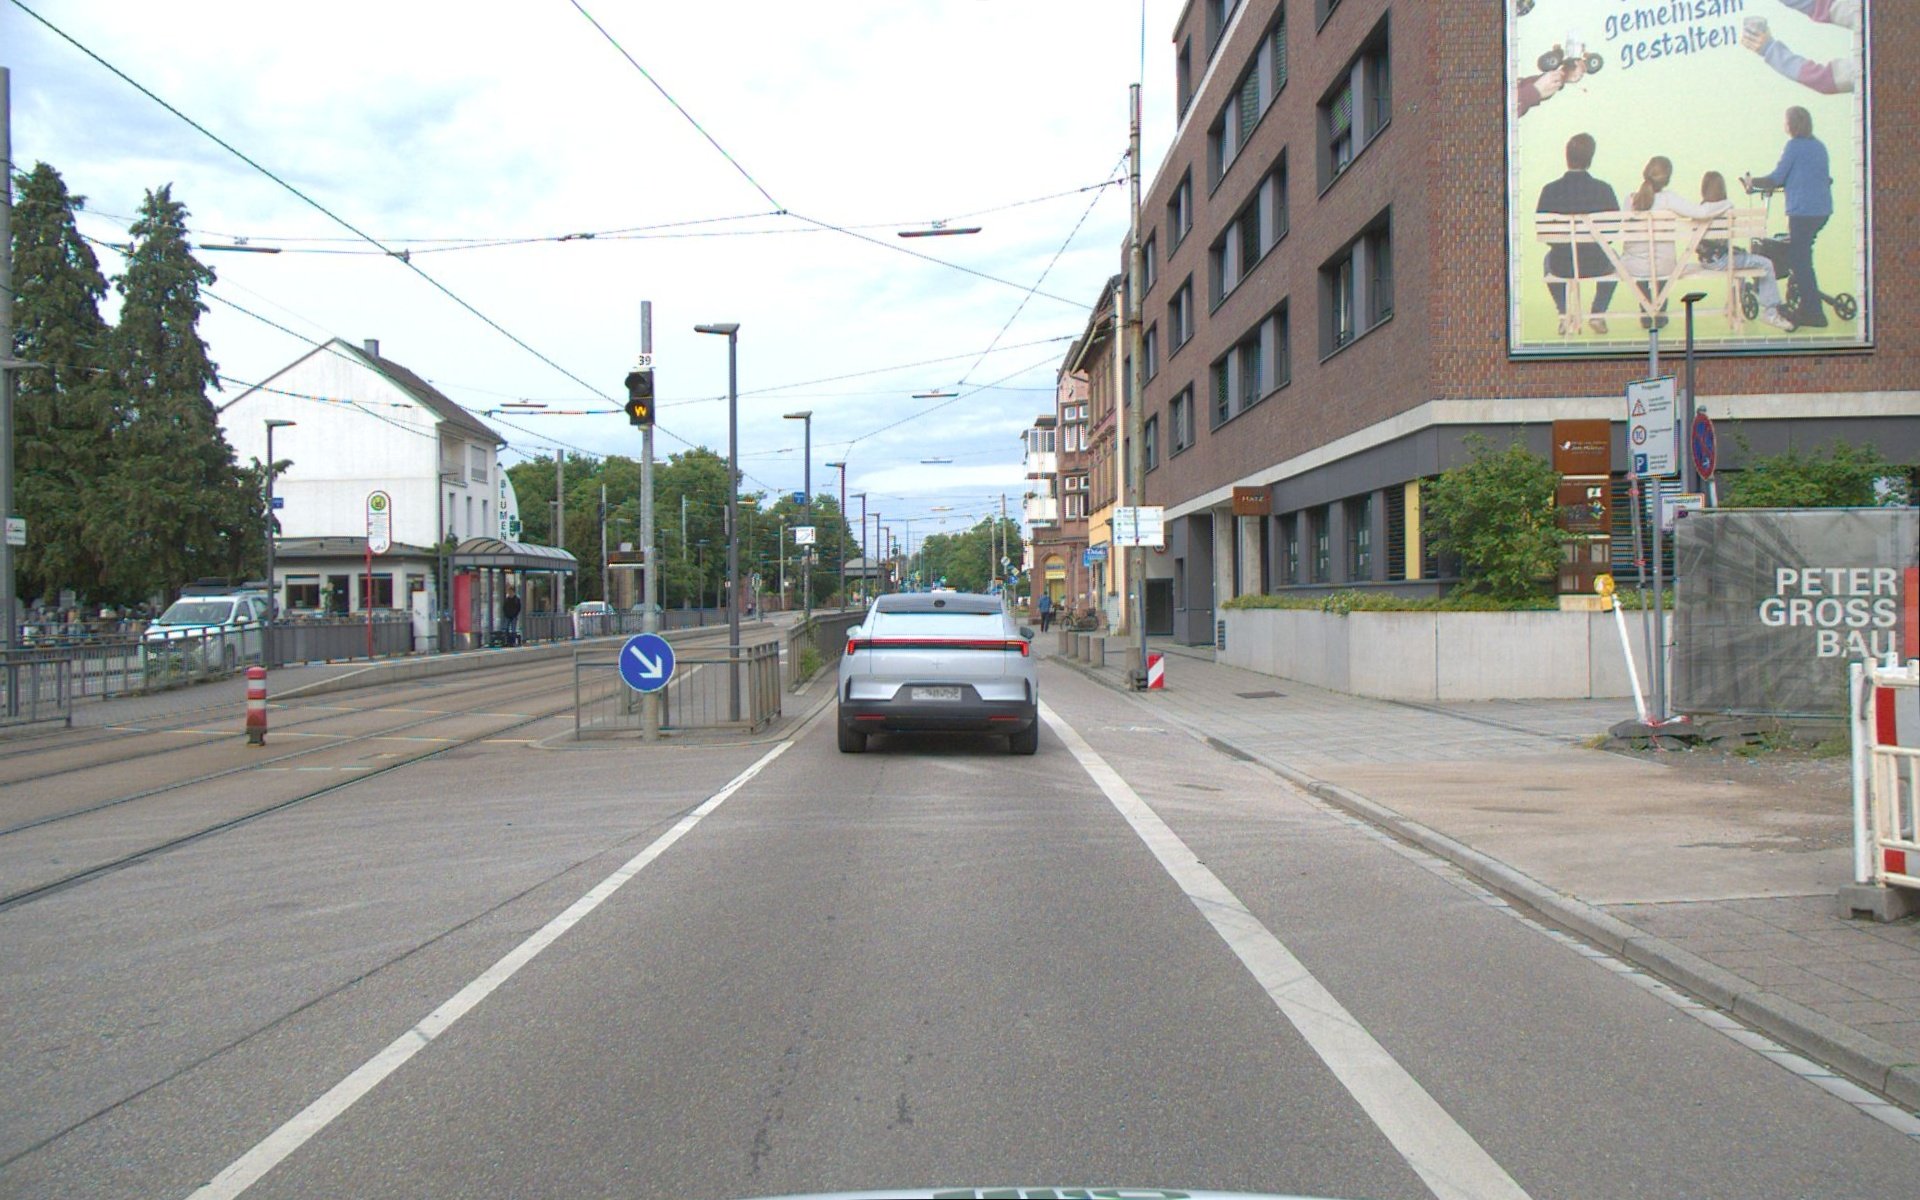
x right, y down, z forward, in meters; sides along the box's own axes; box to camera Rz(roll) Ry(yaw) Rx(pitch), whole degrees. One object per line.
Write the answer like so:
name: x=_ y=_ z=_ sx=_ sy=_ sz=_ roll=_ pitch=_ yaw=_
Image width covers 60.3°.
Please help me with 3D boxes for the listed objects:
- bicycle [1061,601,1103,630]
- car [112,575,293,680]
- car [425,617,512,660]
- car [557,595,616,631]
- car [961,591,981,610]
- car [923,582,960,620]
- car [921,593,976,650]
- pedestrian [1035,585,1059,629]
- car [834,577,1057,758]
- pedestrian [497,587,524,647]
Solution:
bicycle: x=5.381 y=0.683 z=73.257 sx=1.742 sy=1.149 sz=0.642 roll=-3 pitch=0 yaw=-2
car: x=-15.859 y=0.550 z=34.913 sx=1.846 sy=2.023 sz=4.523 roll=-1 pitch=0 yaw=-2
car: x=-16.206 y=1.252 z=54.708 sx=1.714 sy=1.321 sz=3.833 roll=-1 pitch=0 yaw=0
car: x=-17.192 y=0.588 z=76.294 sx=1.827 sy=1.512 sz=3.999 roll=-3 pitch=0 yaw=-2
car: x=1.517 y=0.095 z=232.594 sx=2.750 sy=2.549 sz=5.721 roll=0 pitch=0 yaw=-1
car: x=-1.250 y=0.107 z=109.491 sx=2.182 sy=2.444 sz=5.118 roll=0 pitch=-1 yaw=-4
car: x=-0.368 y=0.658 z=51.476 sx=1.647 sy=1.717 sz=3.823 roll=0 pitch=0 yaw=0
pedestrian: x=3.905 y=0.306 z=74.054 sx=0.940 sy=1.882 sz=0.976 roll=-3 pitch=0 yaw=5
car: x=-0.274 y=0.629 z=16.869 sx=1.960 sy=1.608 sz=3.995 roll=0 pitch=-1 yaw=-5
pedestrian: x=-12.947 y=0.488 z=47.651 sx=0.603 sy=1.694 sz=0.697 roll=0 pitch=-1 yaw=-1
